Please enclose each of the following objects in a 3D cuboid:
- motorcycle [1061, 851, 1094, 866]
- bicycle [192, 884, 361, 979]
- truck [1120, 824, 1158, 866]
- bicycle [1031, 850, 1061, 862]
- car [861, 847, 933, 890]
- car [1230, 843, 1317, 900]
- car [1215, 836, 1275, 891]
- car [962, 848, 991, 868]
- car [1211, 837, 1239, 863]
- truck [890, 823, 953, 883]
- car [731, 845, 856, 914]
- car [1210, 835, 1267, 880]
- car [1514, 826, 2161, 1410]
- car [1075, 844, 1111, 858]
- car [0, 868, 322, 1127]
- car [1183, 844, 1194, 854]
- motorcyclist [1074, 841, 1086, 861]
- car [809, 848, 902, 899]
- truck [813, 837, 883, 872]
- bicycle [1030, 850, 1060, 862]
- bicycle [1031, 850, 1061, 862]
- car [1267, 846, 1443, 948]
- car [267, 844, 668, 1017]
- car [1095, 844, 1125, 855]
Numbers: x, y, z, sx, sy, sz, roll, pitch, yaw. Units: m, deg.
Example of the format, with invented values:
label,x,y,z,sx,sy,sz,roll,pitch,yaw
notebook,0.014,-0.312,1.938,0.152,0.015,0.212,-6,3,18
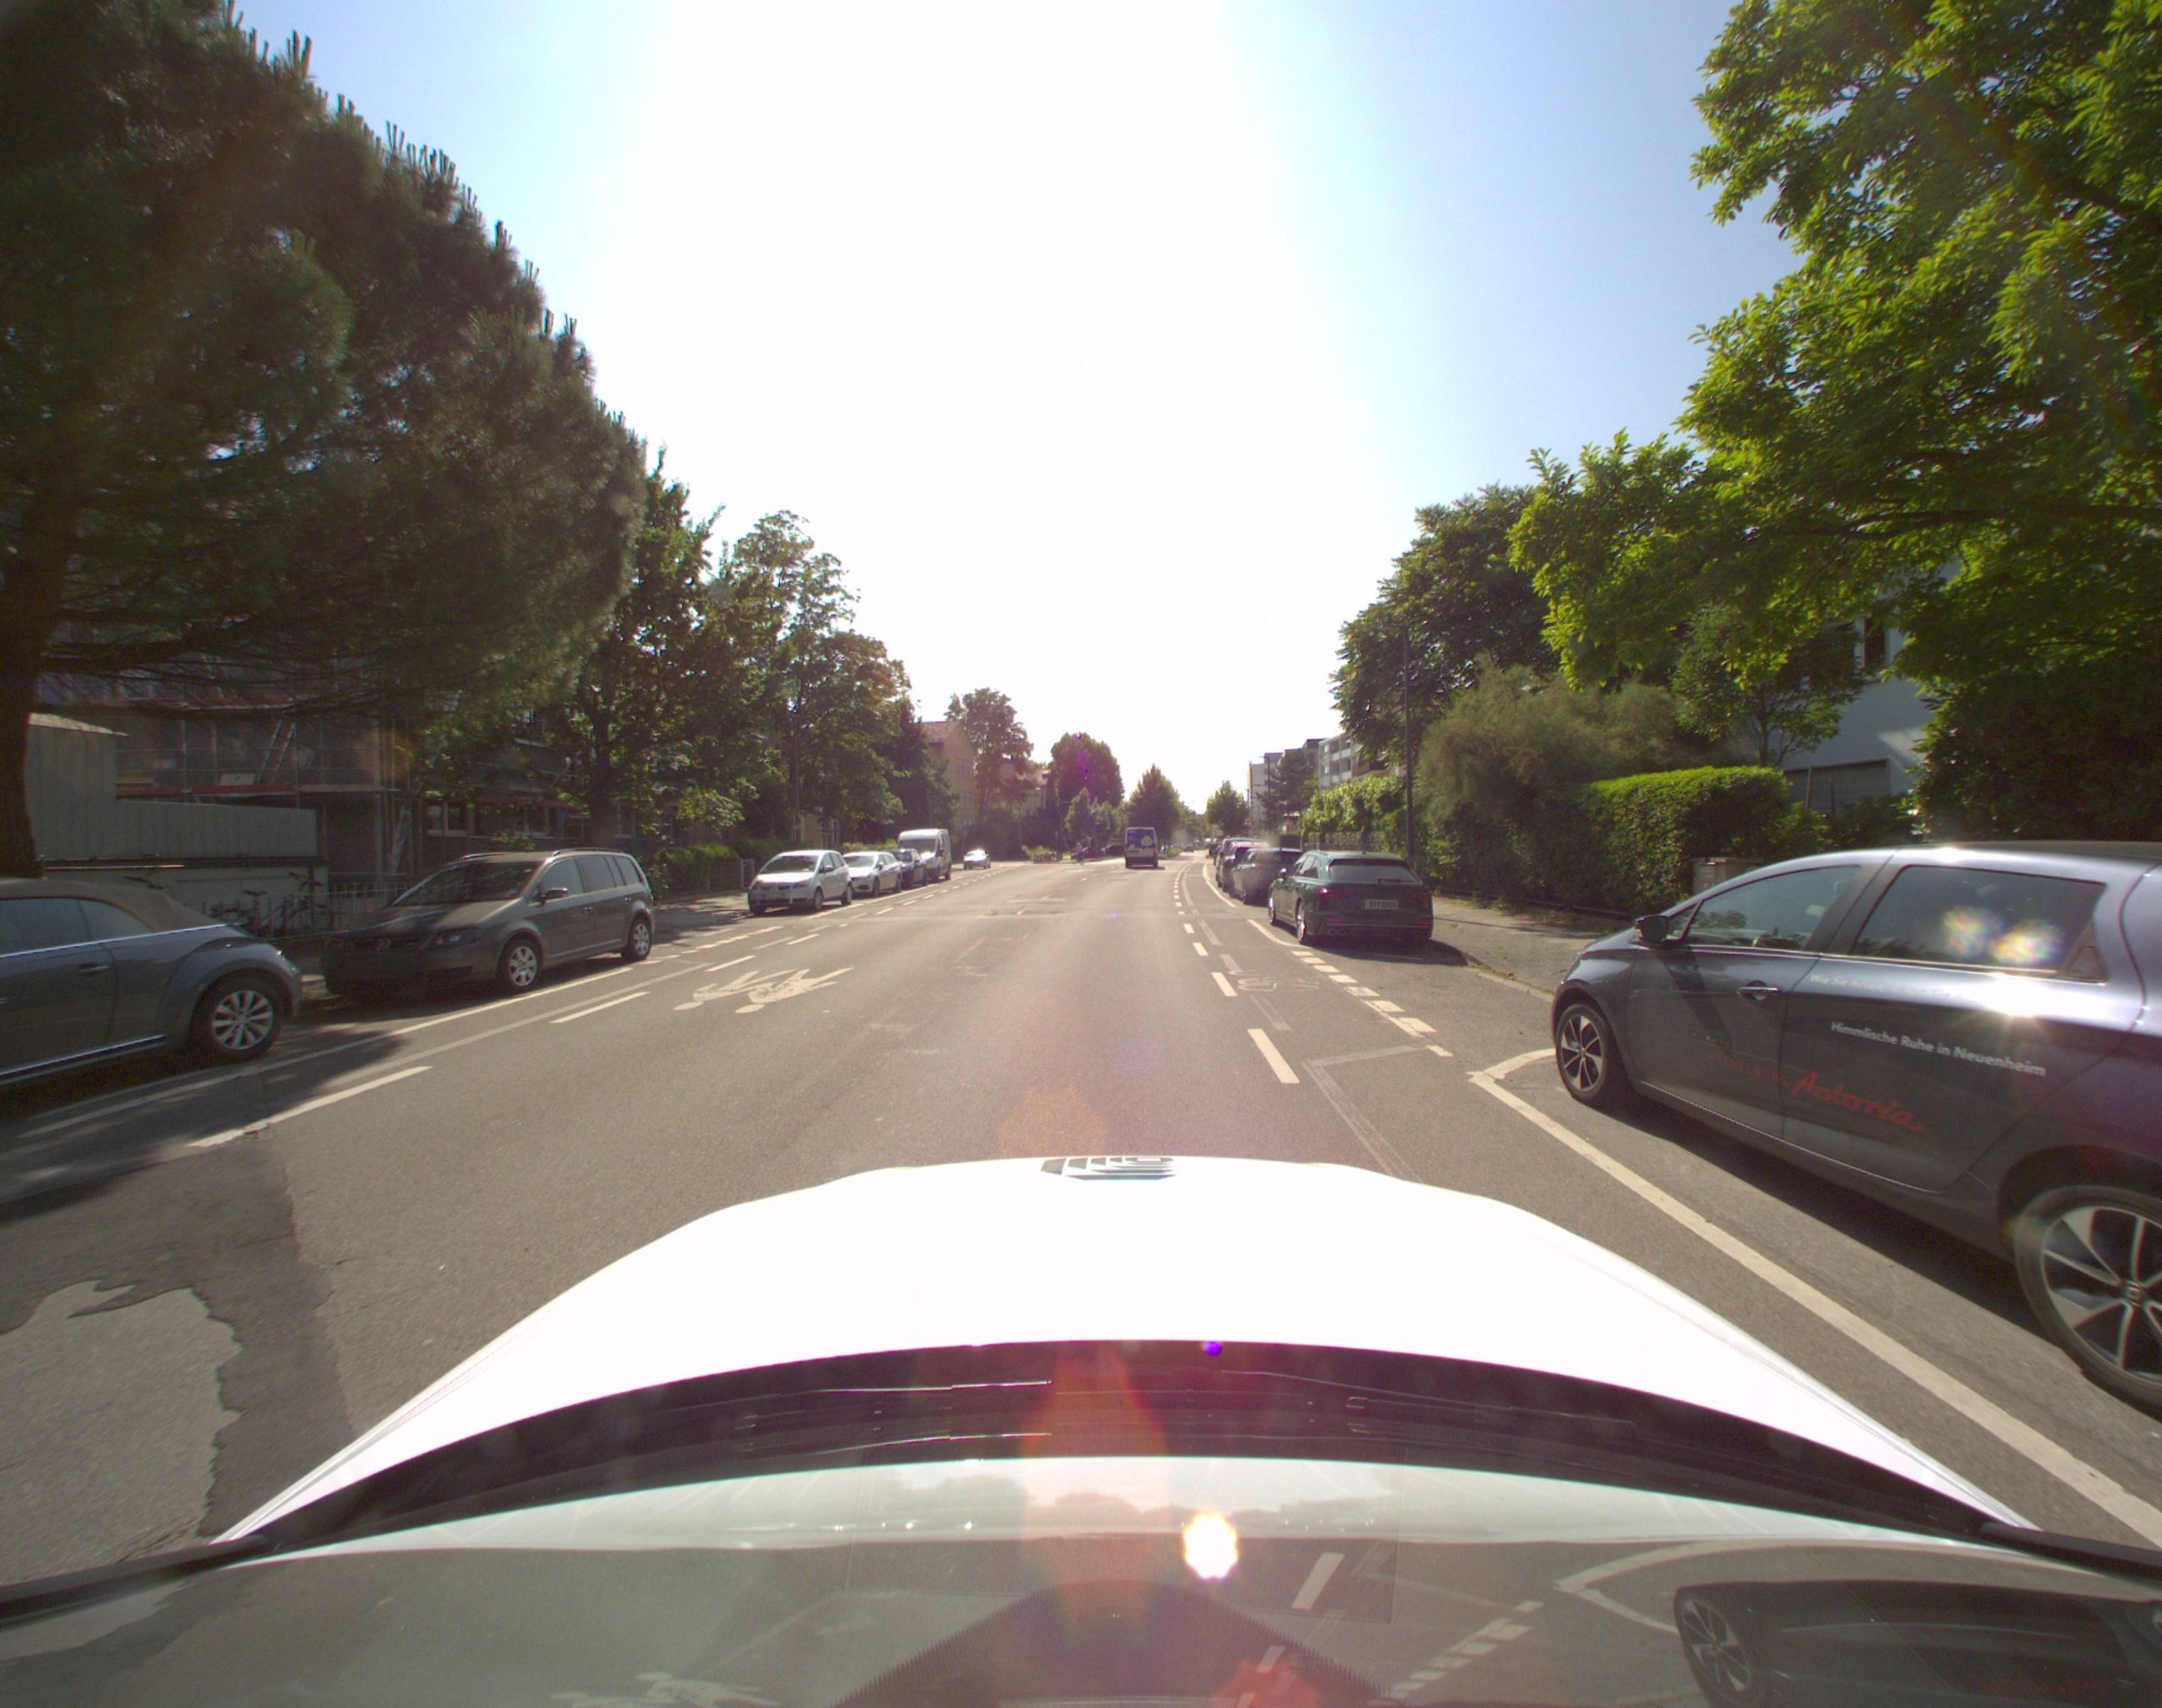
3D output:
label,x,y,z,sx,sy,sz,roll,pitch,yaw
motorcycle,-0.287,0.388,64.863,1.065,1.122,2.959,-2,0,-36
bicycle,-11.407,1.053,11.655,0.371,1.145,1.978,-2,0,2
truck,3.832,-0.590,53.482,2.262,2.571,4.398,-2,0,5
bicycle,-3.251,0.203,75.335,2.663,1.026,1.023,-2,0,-9
car,-7.231,0.529,32.356,1.747,1.496,3.657,-2,1,3
car,5.081,0.438,22.002,1.776,1.399,4.129,0,0,6
car,5.465,0.258,27.531,1.691,1.676,3.783,-2,1,7
car,-7.657,0.279,60.066,1.750,1.343,3.651,-2,1,-2
car,10.127,-0.291,57.030,1.688,1.677,3.789,-2,1,13
truck,-7.409,-0.075,38.328,2.076,2.537,5.461,-2,1,-3
car,-7.413,0.609,21.401,1.828,1.595,3.776,-2,0,1
car,6.272,0.106,32.820,1.693,1.677,3.778,-2,1,3
car,3.722,0.667,3.565,1.702,1.514,3.904,0,1,2
car,1.440,-0.333,95.634,3.986,1.490,1.624,-2,0,-10
car,-7.247,0.905,4.753,1.776,1.460,4.084,-2,1,-1
car,21.420,-1.017,161.993,1.899,2.013,4.006,-2,0,5
motorcyclist,-0.099,-0.220,64.582,0.677,1.518,0.645,-2,0,-33
car,-7.372,0.594,26.992,1.827,1.496,3.657,-2,1,3
truck,-21.060,0.061,73.726,5.658,2.946,2.218,-2,0,-5
bicycle,-3.407,0.191,76.424,2.687,1.047,1.023,-2,0,-9
bicycle,-3.333,0.183,77.549,2.687,1.047,1.023,-2,0,-9
car,4.293,0.574,13.490,1.776,1.399,4.330,0,1,5
car,-7.248,0.736,10.333,1.904,1.676,4.255,-2,1,-2
car,3.973,-0.607,111.941,3.986,1.490,1.624,-2,0,-10
